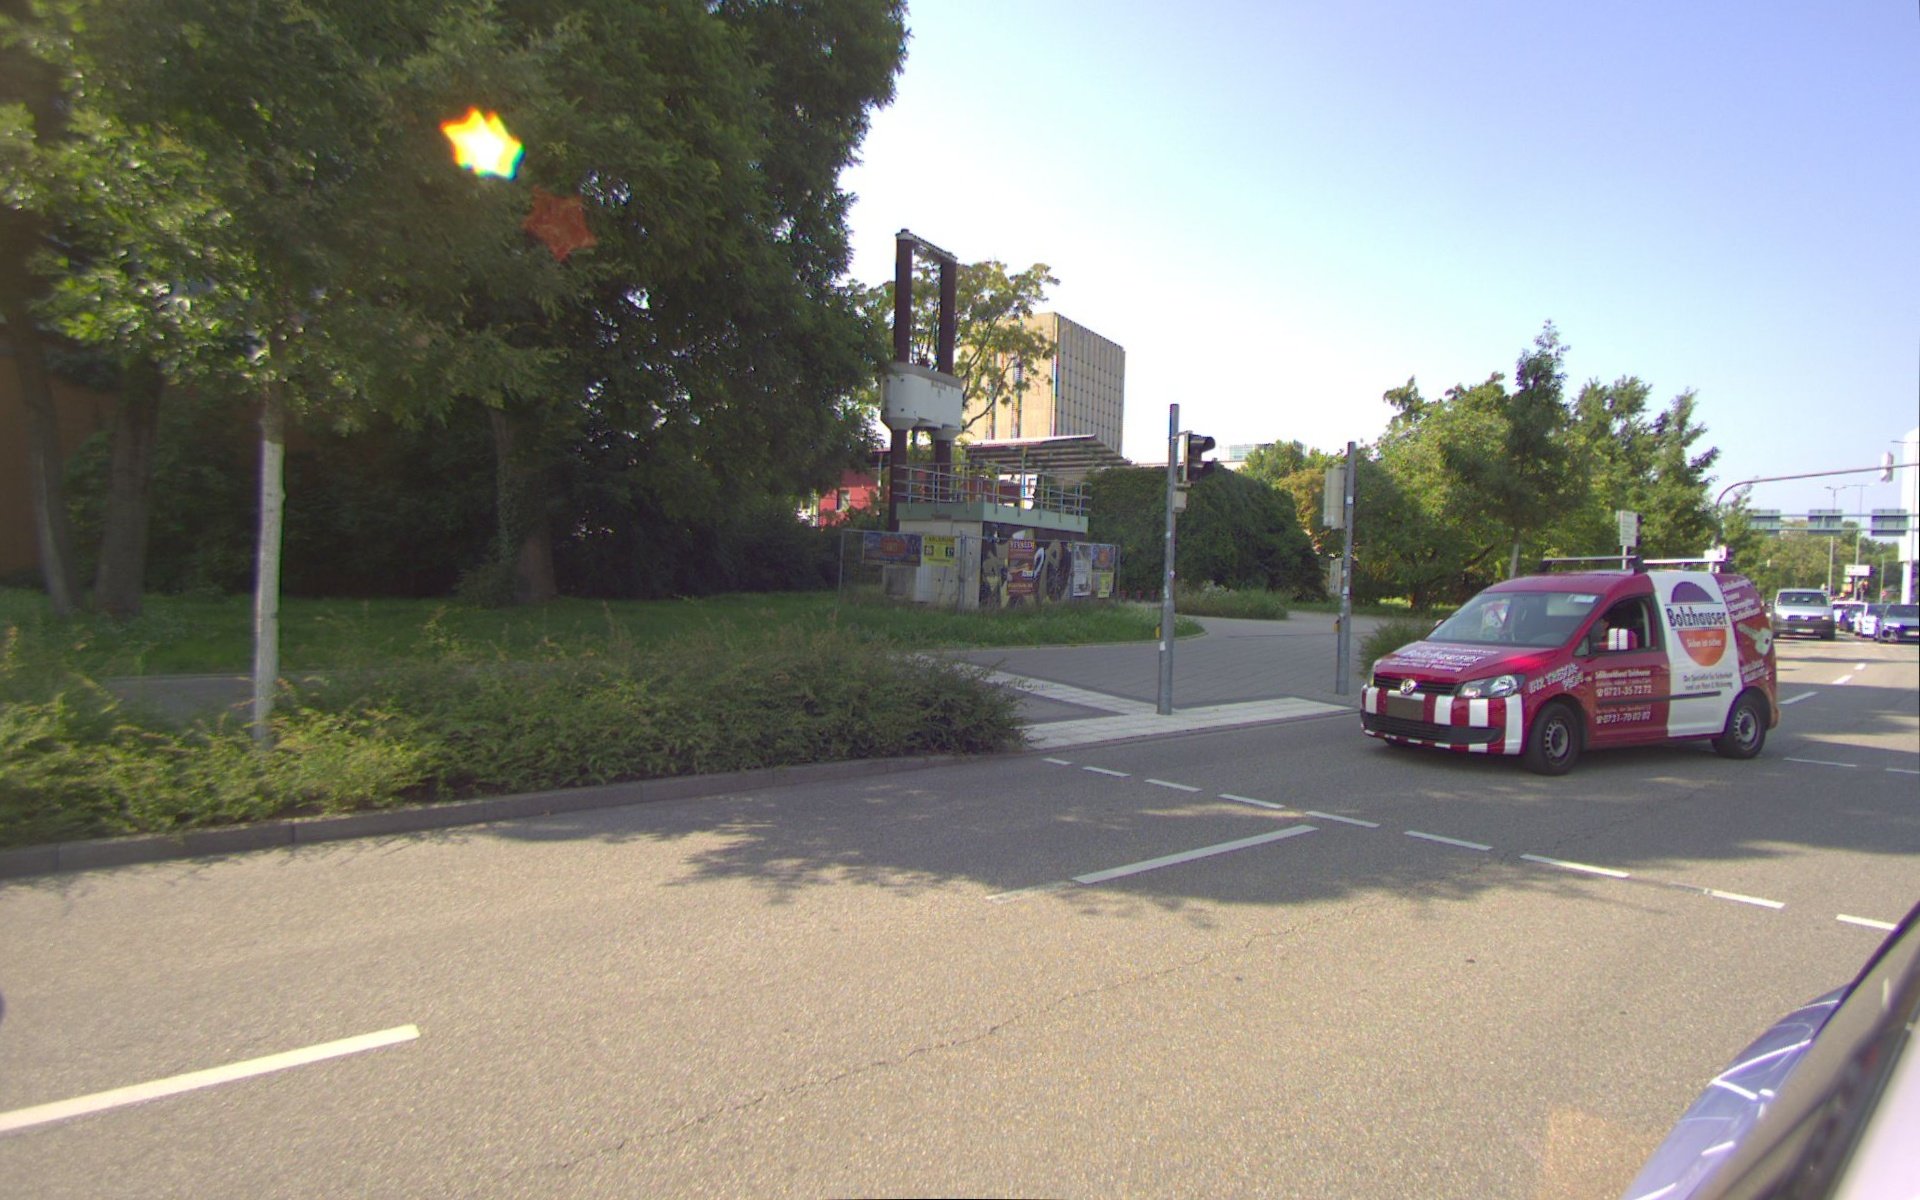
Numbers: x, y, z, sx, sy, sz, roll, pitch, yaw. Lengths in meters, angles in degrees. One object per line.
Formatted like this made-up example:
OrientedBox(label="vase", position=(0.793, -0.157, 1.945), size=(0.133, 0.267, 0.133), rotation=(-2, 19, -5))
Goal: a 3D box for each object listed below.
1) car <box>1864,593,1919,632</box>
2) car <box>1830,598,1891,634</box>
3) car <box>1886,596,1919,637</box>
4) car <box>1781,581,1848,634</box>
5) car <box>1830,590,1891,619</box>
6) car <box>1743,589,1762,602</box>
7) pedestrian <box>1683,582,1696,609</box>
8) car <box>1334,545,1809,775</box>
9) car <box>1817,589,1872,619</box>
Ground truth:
OrientedBox(label="car", position=(39.582, 0.508, 42.700), size=(1.992, 1.524, 4.370), rotation=(3, 2, 41))
OrientedBox(label="car", position=(42.030, 0.702, 47.299), size=(1.992, 1.524, 4.370), rotation=(3, 2, 41))
OrientedBox(label="car", position=(35.356, 0.588, 37.054), size=(1.904, 1.418, 4.848), rotation=(3, 2, 41))
OrientedBox(label="car", position=(33.003, 0.243, 39.105), size=(1.839, 1.898, 4.900), rotation=(2, 2, 41))
OrientedBox(label="car", position=(50.373, 0.216, 56.686), size=(1.920, 1.524, 4.242), rotation=(3, 2, 34))
OrientedBox(label="car", position=(110.352, -0.636, 140.883), size=(1.821, 1.704, 3.949), rotation=(2, 2, 35))
OrientedBox(label="pedestrian", position=(49.910, -0.313, 69.244), size=(0.620, 1.868, 0.633), rotation=(2, 2, 36))
OrientedBox(label="car", position=(5.856, 0.472, 9.695), size=(4.188, 1.842, 1.741), rotation=(0, 1, -23))
OrientedBox(label="car", position=(53.956, 0.220, 61.807), size=(1.920, 1.680, 4.242), rotation=(3, 2, 34))
